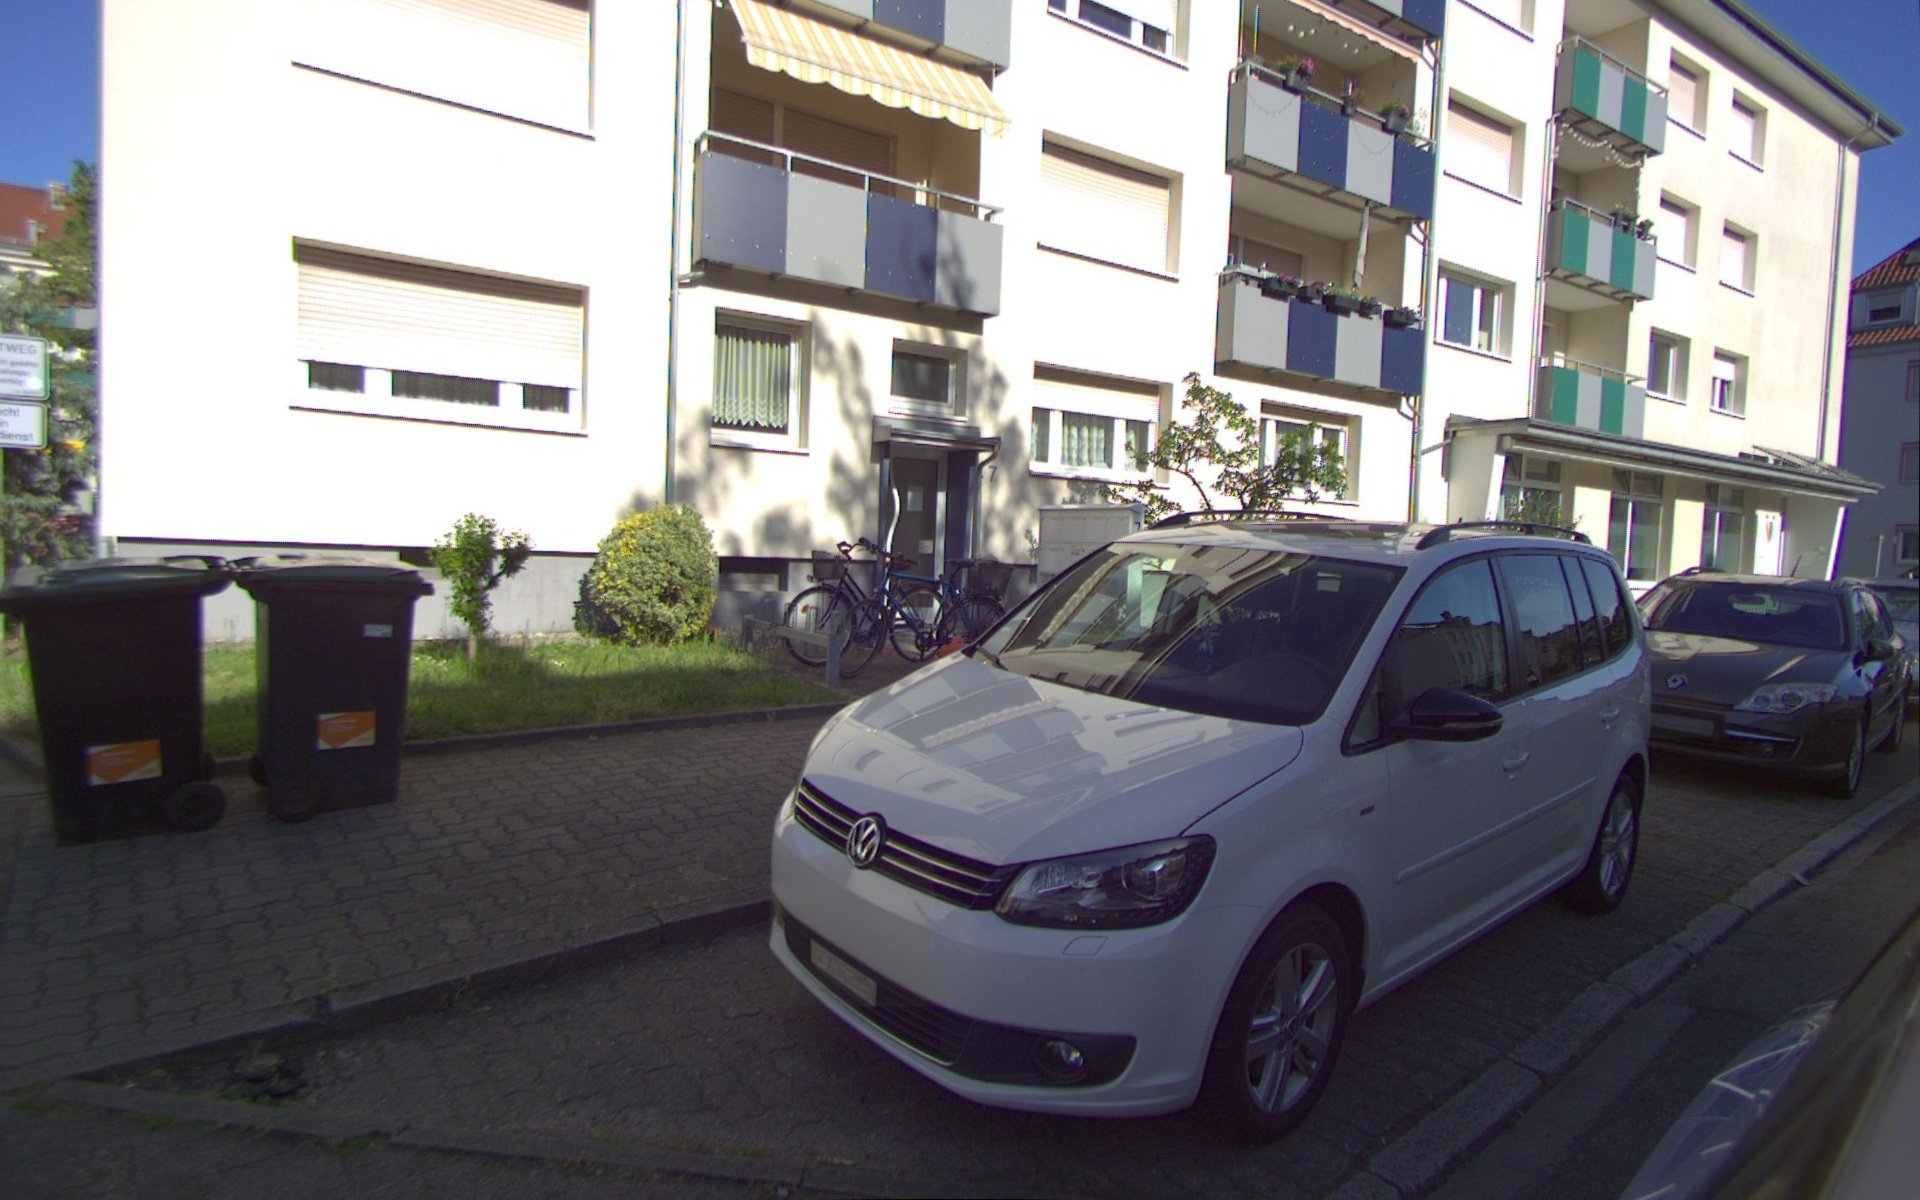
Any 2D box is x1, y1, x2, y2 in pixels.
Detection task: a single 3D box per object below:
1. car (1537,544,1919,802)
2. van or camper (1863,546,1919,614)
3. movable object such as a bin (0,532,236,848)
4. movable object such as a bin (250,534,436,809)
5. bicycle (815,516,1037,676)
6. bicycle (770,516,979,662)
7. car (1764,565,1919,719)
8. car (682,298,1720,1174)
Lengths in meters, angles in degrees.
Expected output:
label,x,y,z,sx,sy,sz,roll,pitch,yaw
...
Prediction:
label,x,y,z,sx,sy,sz,roll,pitch,yaw
car,6.493,0.371,8.125,4.606,1.448,1.698,-1,6,-41
van or camper,30.912,-0.478,30.425,1.960,2.038,5.148,2,3,-31
movable object such as a bin,-3.307,0.305,4.037,0.670,1.108,0.586,-1,6,-36
movable object such as a bin,-2.732,0.268,4.483,0.629,1.068,0.586,-3,8,-36
bicycle,-0.269,-0.046,8.370,1.725,1.216,0.517,0,5,-26
bicycle,-0.759,-0.112,9.189,1.797,1.216,0.517,0,5,-30
car,11.191,0.370,11.602,4.633,1.464,1.685,-1,4,-34
car,1.315,0.173,3.976,4.314,1.675,1.698,-1,6,-41
